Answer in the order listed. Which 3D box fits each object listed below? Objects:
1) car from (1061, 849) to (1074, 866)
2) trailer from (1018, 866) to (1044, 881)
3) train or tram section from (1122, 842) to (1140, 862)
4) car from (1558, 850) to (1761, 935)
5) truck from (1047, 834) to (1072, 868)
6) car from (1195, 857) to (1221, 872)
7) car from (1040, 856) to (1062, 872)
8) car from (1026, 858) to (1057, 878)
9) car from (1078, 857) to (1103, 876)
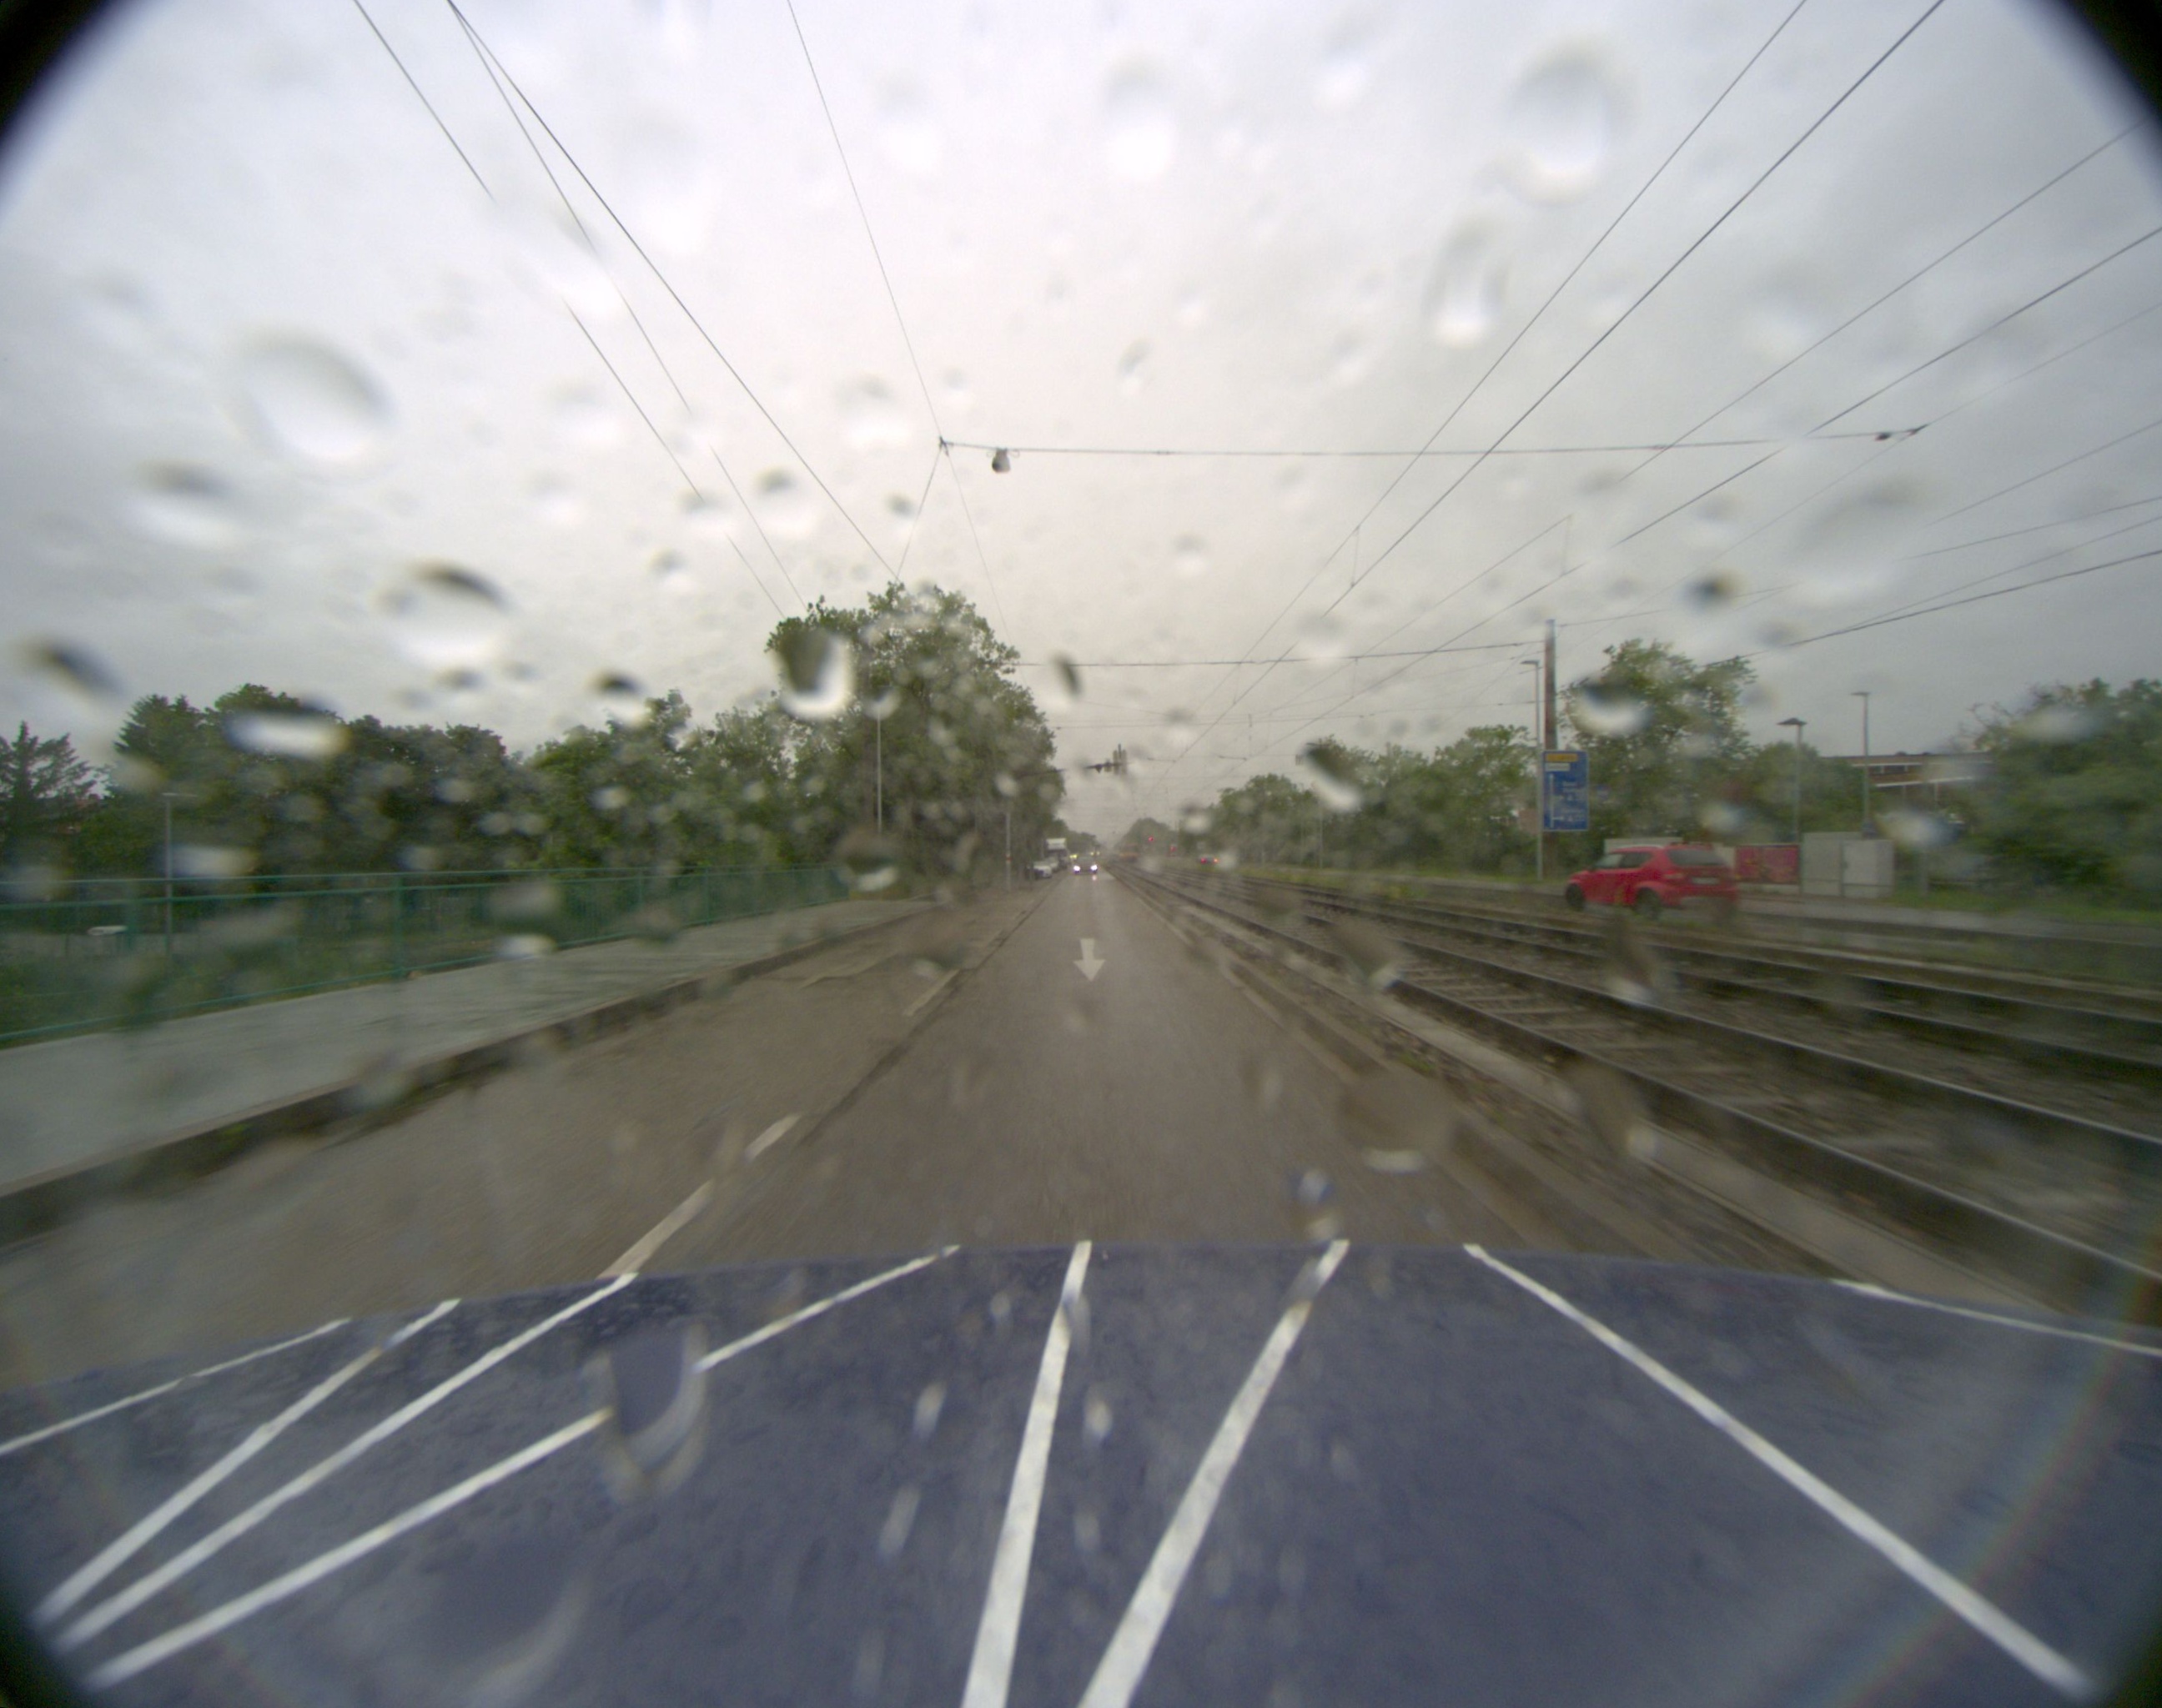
[{"bbox_3d":[-2.212,0.577,124.314,1.998,2.661,4.197,-2,-1,1],"label":"car"},{"bbox_3d":[-3.416,1.299,52.554,1.546,0.931,3.276,-2,-1,1],"label":"trailer"},{"bbox_3d":[9.606,-0.439,148.086,2.460,3.603,15.105,-2,1,1],"label":"train or tram section"},{"bbox_3d":[12.627,0.752,16.898,1.728,1.591,3.650,-2,1,0],"label":"car"},{"bbox_3d":[-2.579,-0.334,93.479,2.567,3.847,7.847,-2,-1,1],"label":"truck"},{"bbox_3d":[14.370,1.182,86.280,1.999,1.514,4.956,-3,1,0],"label":"car"},{"bbox_3d":[-3.018,1.033,77.330,1.998,1.497,4.197,-2,-1,1],"label":"car"},{"bbox_3d":[-2.966,1.069,57.572,1.998,1.394,4.197,-2,-1,1],"label":"car"},{"bbox_3d":[0.826,1.084,65.467,1.998,1.497,4.197,-2,-1,1],"label":"car"}]
